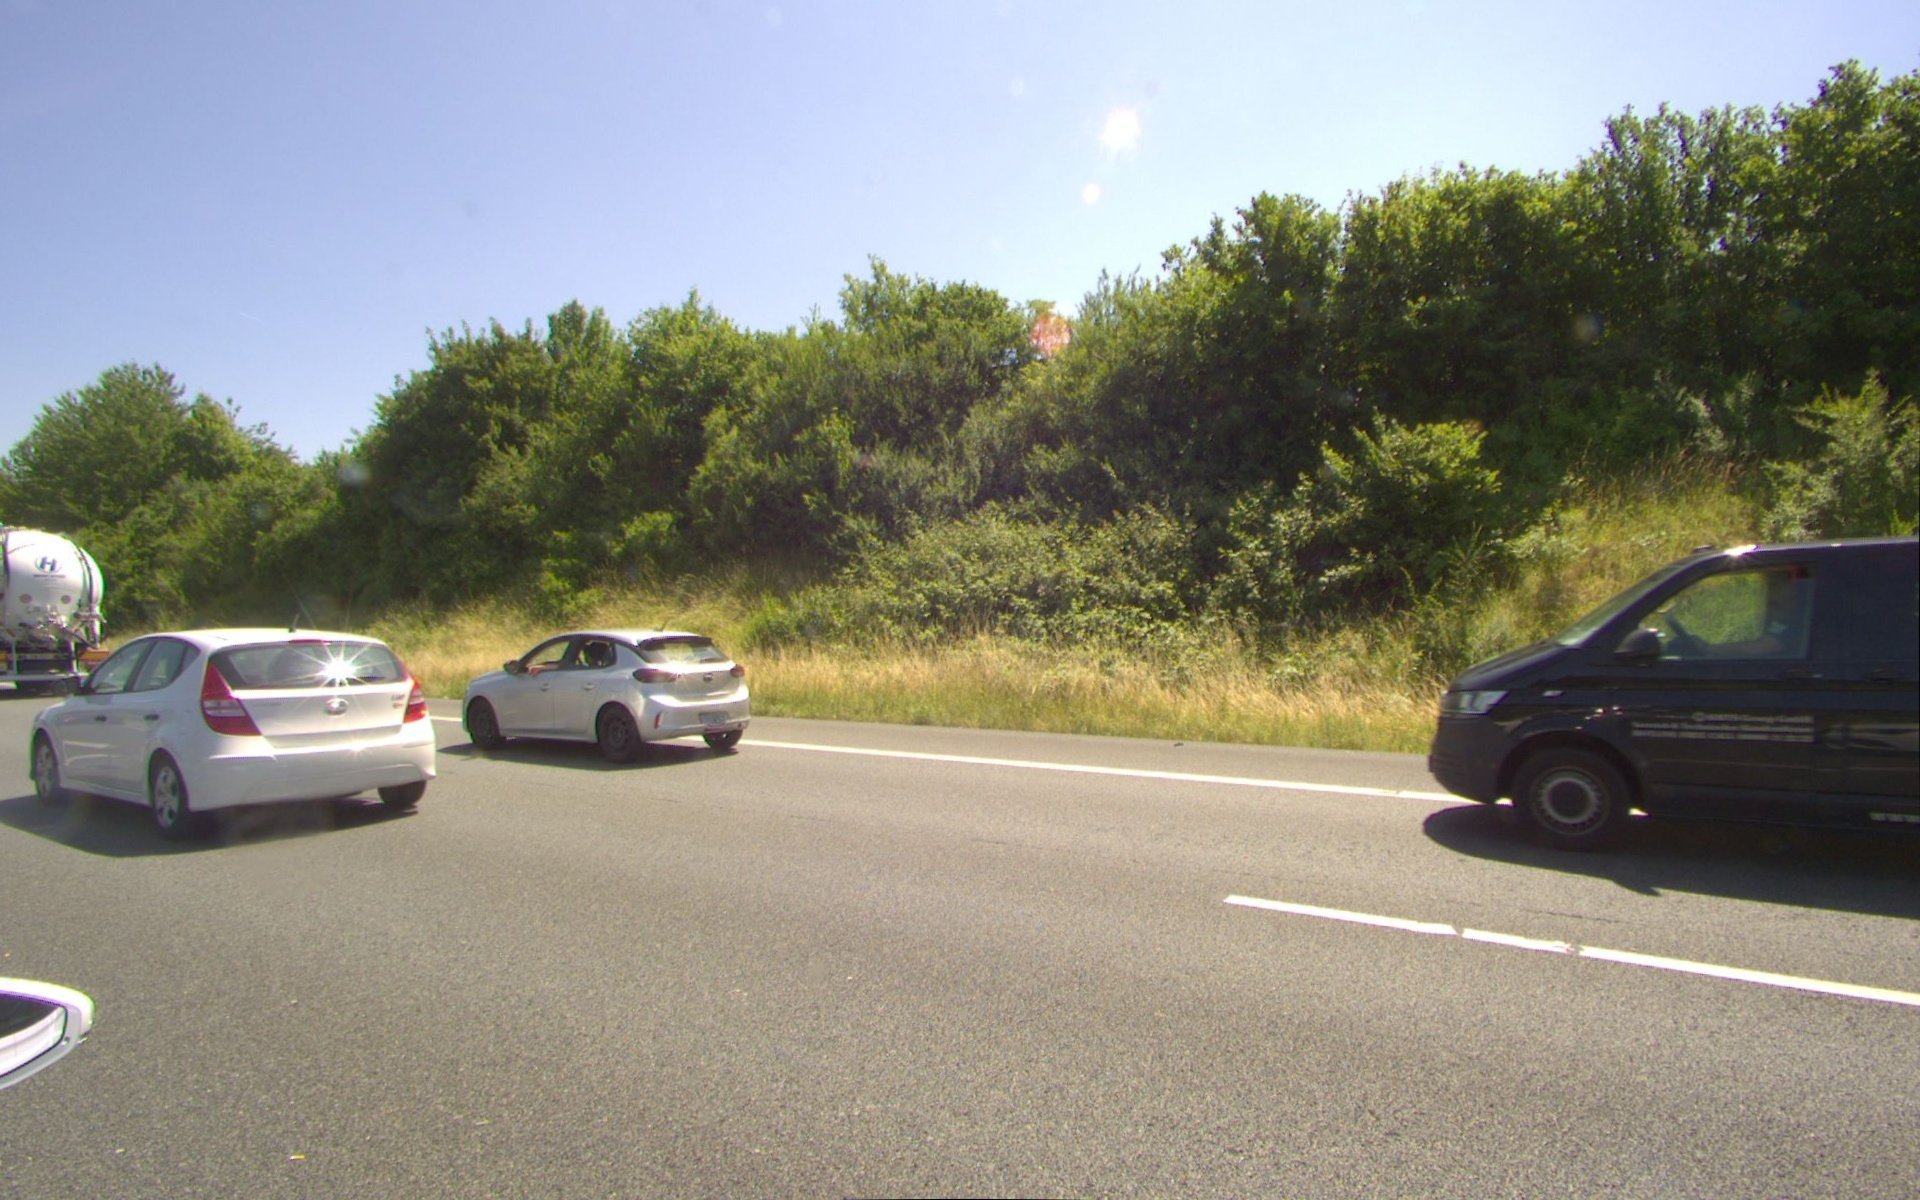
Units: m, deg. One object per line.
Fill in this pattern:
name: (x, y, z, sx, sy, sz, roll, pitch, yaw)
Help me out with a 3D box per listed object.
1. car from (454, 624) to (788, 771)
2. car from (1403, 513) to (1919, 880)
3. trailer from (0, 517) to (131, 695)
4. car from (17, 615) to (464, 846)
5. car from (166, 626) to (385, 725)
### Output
car: (-4.147, 1.040, 12.077, 3.971, 1.462, 1.727, 0, 0, 33)
car: (5.520, 0.529, 6.245, 4.789, 1.965, 1.909, -2, -1, 34)
trailer: (-25.216, 0.237, 25.658, 11.322, 3.895, 2.755, -1, -1, 32)
car: (-6.138, 0.923, 8.433, 3.946, 1.504, 1.812, -2, -1, 34)
car: (-11.476, 1.207, 16.721, 3.934, 1.435, 1.637, -2, 0, 34)
